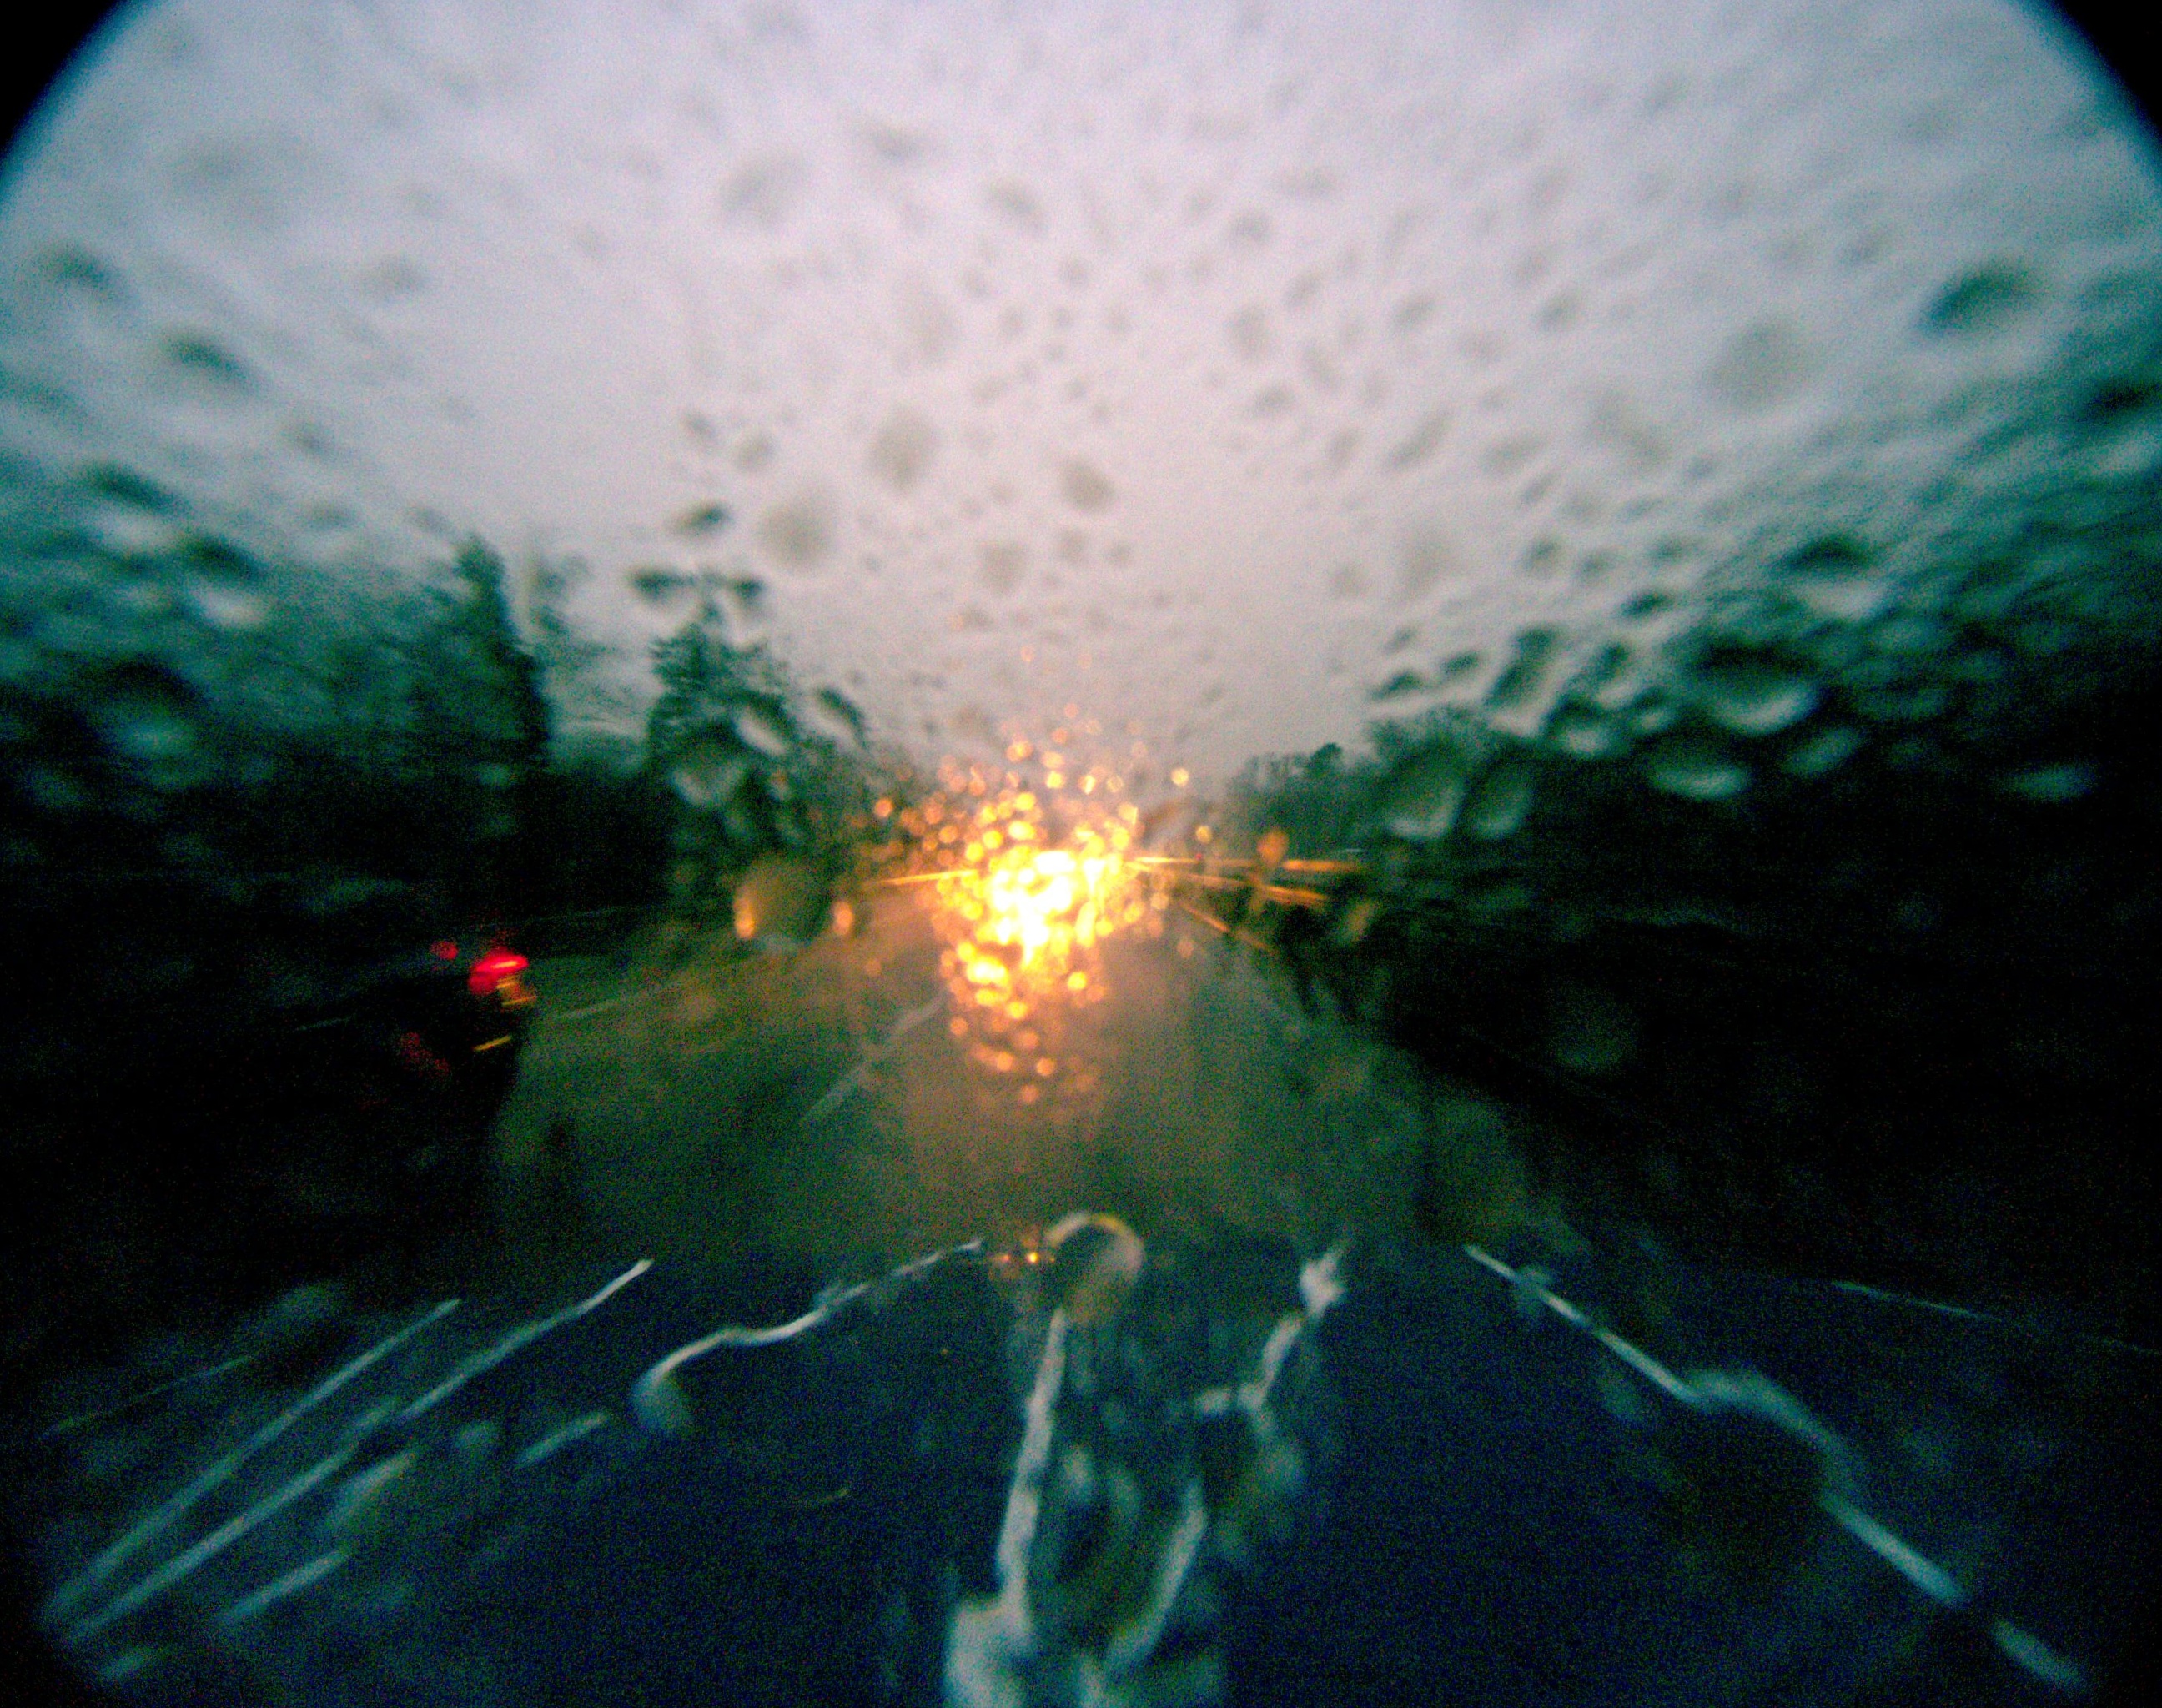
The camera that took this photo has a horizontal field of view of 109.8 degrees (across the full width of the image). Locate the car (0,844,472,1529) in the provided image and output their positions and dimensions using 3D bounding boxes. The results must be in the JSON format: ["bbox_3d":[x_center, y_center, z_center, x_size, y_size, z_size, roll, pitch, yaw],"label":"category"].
[{"bbox_3d":[-3.810,0.905,1.501,1.929,1.781,3.940,-2,1,1],"label":"car"}]

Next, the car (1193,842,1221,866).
[{"bbox_3d":[12.547,-0.020,75.931,2.036,2.303,5.460,-2,1,2],"label":"car"}]

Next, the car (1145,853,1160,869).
[{"bbox_3d":[9.714,0.954,103.780,1.747,1.945,4.818,-2,1,2],"label":"car"}]

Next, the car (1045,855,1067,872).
[{"bbox_3d":[-2.309,0.835,70.451,1.741,1.441,4.000,-2,1,1],"label":"car"}]

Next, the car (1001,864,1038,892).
[{"bbox_3d":[-3.346,1.299,41.744,1.603,1.358,3.305,-3,0,1],"label":"car"}]

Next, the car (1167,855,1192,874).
[{"bbox_3d":[8.128,0.837,63.204,1.635,1.459,3.523,-2,1,1],"label":"car"}]

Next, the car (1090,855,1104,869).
[{"bbox_3d":[2.300,1.137,107.776,1.767,1.922,3.999,-2,1,-1],"label":"car"}]

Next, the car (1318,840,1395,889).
[{"bbox_3d":[11.333,0.391,31.550,1.761,1.824,3.912,-2,1,0],"label":"car"}]
